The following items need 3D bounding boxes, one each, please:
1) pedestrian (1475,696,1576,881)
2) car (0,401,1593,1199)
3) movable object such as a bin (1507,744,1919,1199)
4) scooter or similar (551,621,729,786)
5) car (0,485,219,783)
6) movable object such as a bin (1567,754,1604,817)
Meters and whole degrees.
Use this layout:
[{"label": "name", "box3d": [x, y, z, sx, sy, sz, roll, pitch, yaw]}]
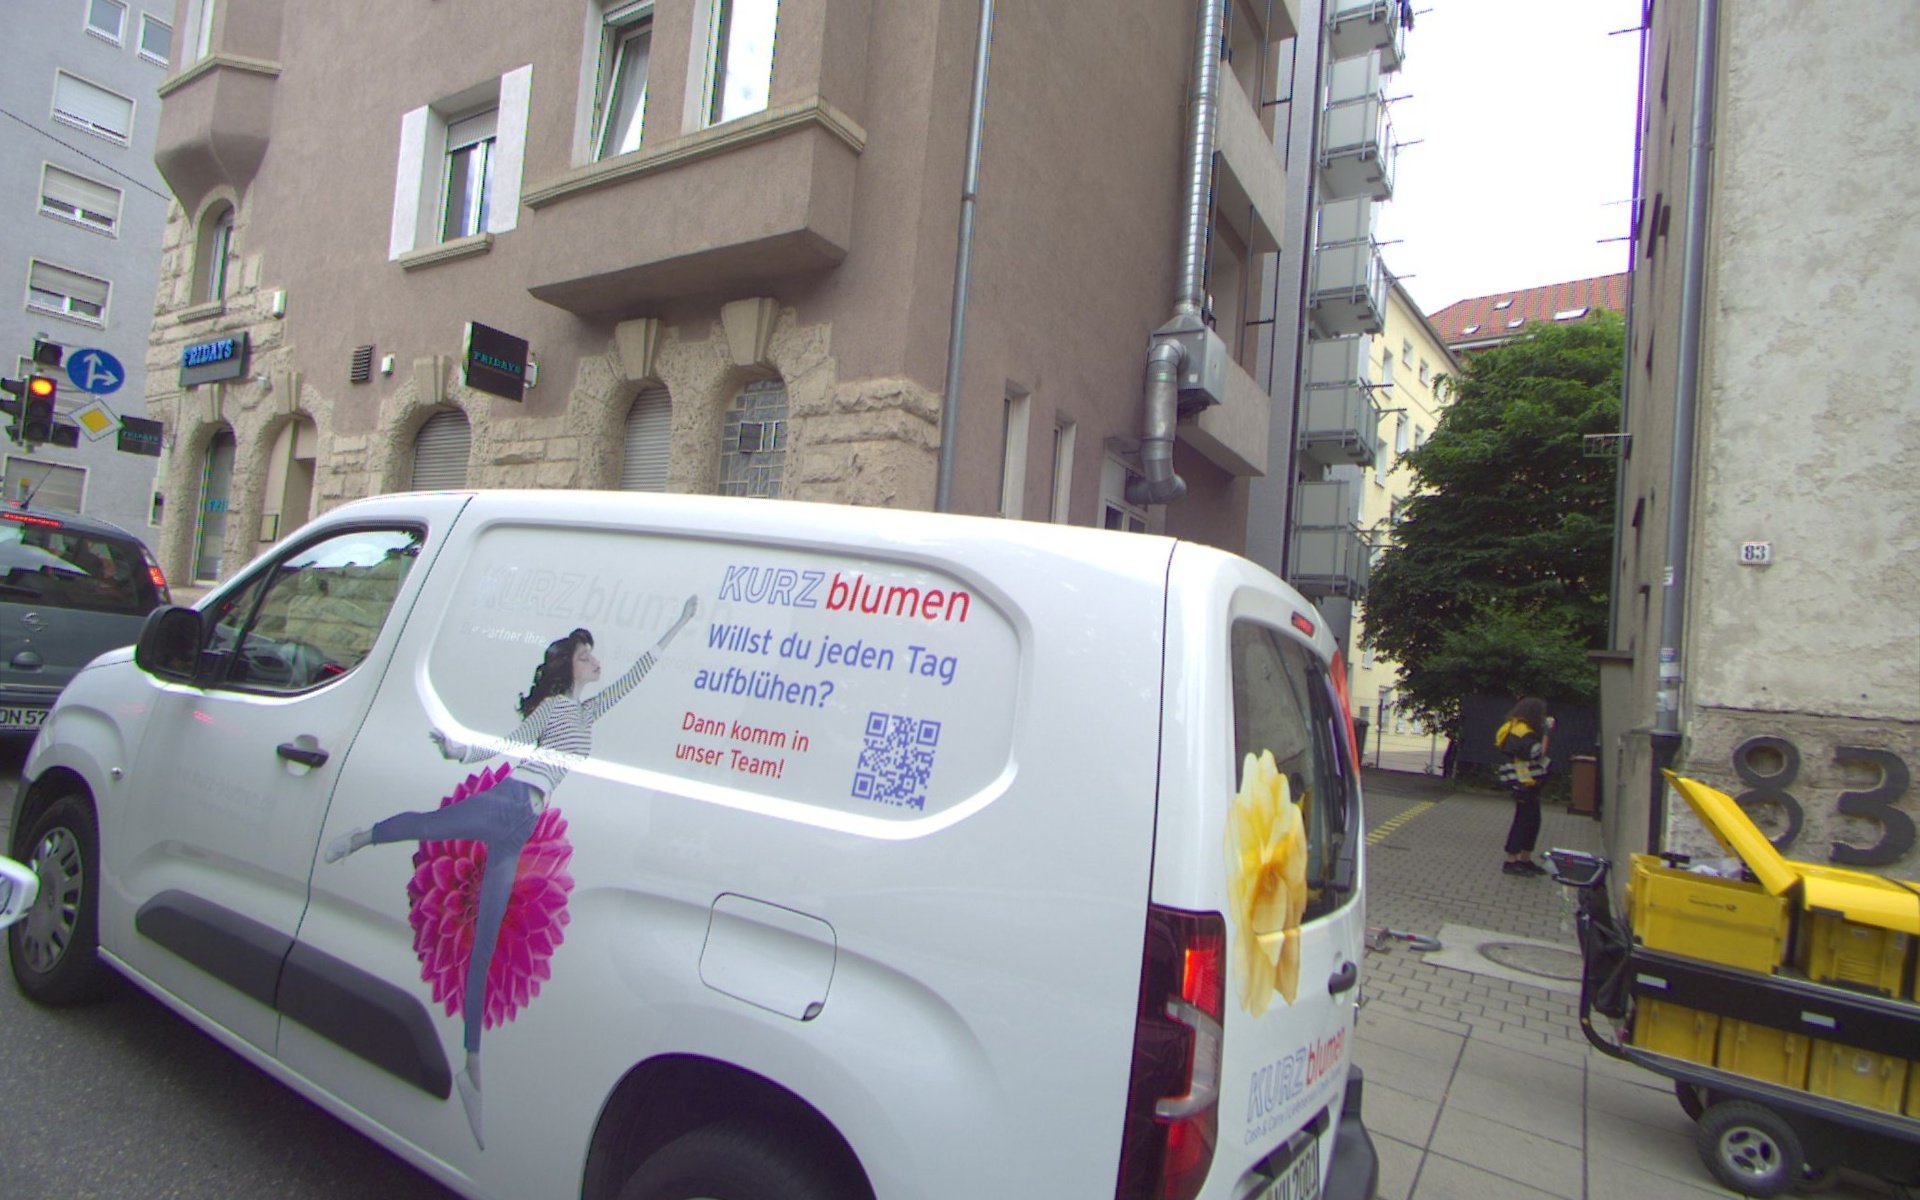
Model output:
[{"label": "pedestrian", "box3d": [5.506, 1.793, 9.838, 0.770, 1.665, 0.811, 1, -3, 24]}, {"label": "car", "box3d": [-0.906, 0.594, 3.120, 4.597, 1.793, 1.983, 6, -5, 30]}, {"label": "movable object such as a bin", "box3d": [3.378, 1.457, 4.000, 1.979, 1.391, 1.223, 6, 0, 30]}, {"label": "scooter or similar", "box3d": [-2.628, 0.815, 8.224, 1.400, 1.117, 0.527, 6, -1, 34]}, {"label": "car", "box3d": [-6.703, 0.047, 6.529, 3.608, 1.614, 1.634, 6, -5, 32]}, {"label": "movable object such as a bin", "box3d": [9.938, 2.940, 15.981, 0.405, 0.922, 0.340, 6, -1, 32]}]
